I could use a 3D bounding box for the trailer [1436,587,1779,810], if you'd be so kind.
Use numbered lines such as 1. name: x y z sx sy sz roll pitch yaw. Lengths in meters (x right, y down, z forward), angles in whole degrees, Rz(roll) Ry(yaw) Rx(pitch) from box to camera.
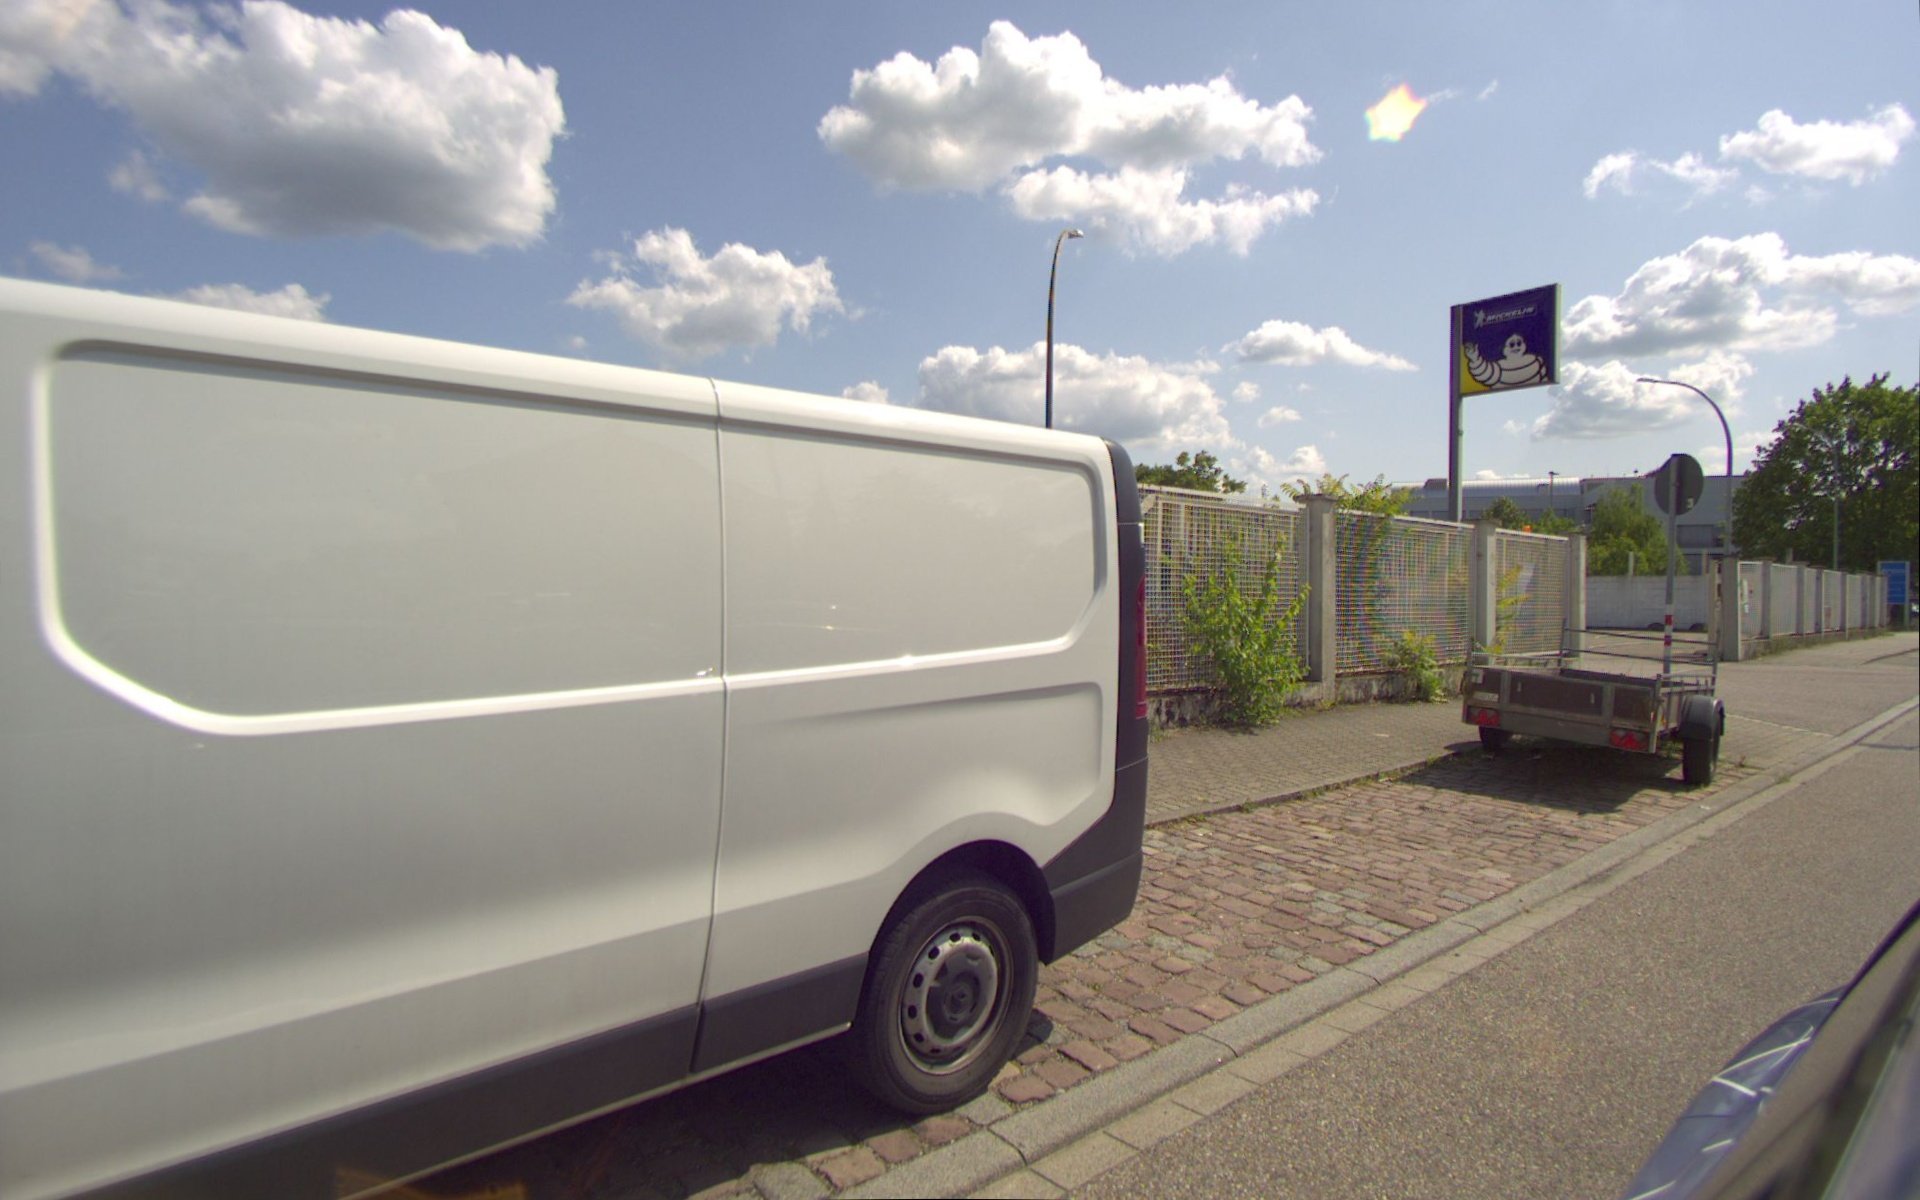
1. trailer: 6.087 0.656 9.256 1.750 1.434 4.478 5 4 44

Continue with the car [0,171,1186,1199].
1. car: -2.002 0.377 2.276 5.551 2.039 1.997 0 1 -41

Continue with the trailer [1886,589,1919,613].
1. trailer: 89.695 0.082 96.033 1.737 2.093 3.904 3 2 31

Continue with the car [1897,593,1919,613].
1. car: 87.433 0.289 92.357 1.853 1.703 4.656 3 2 32
